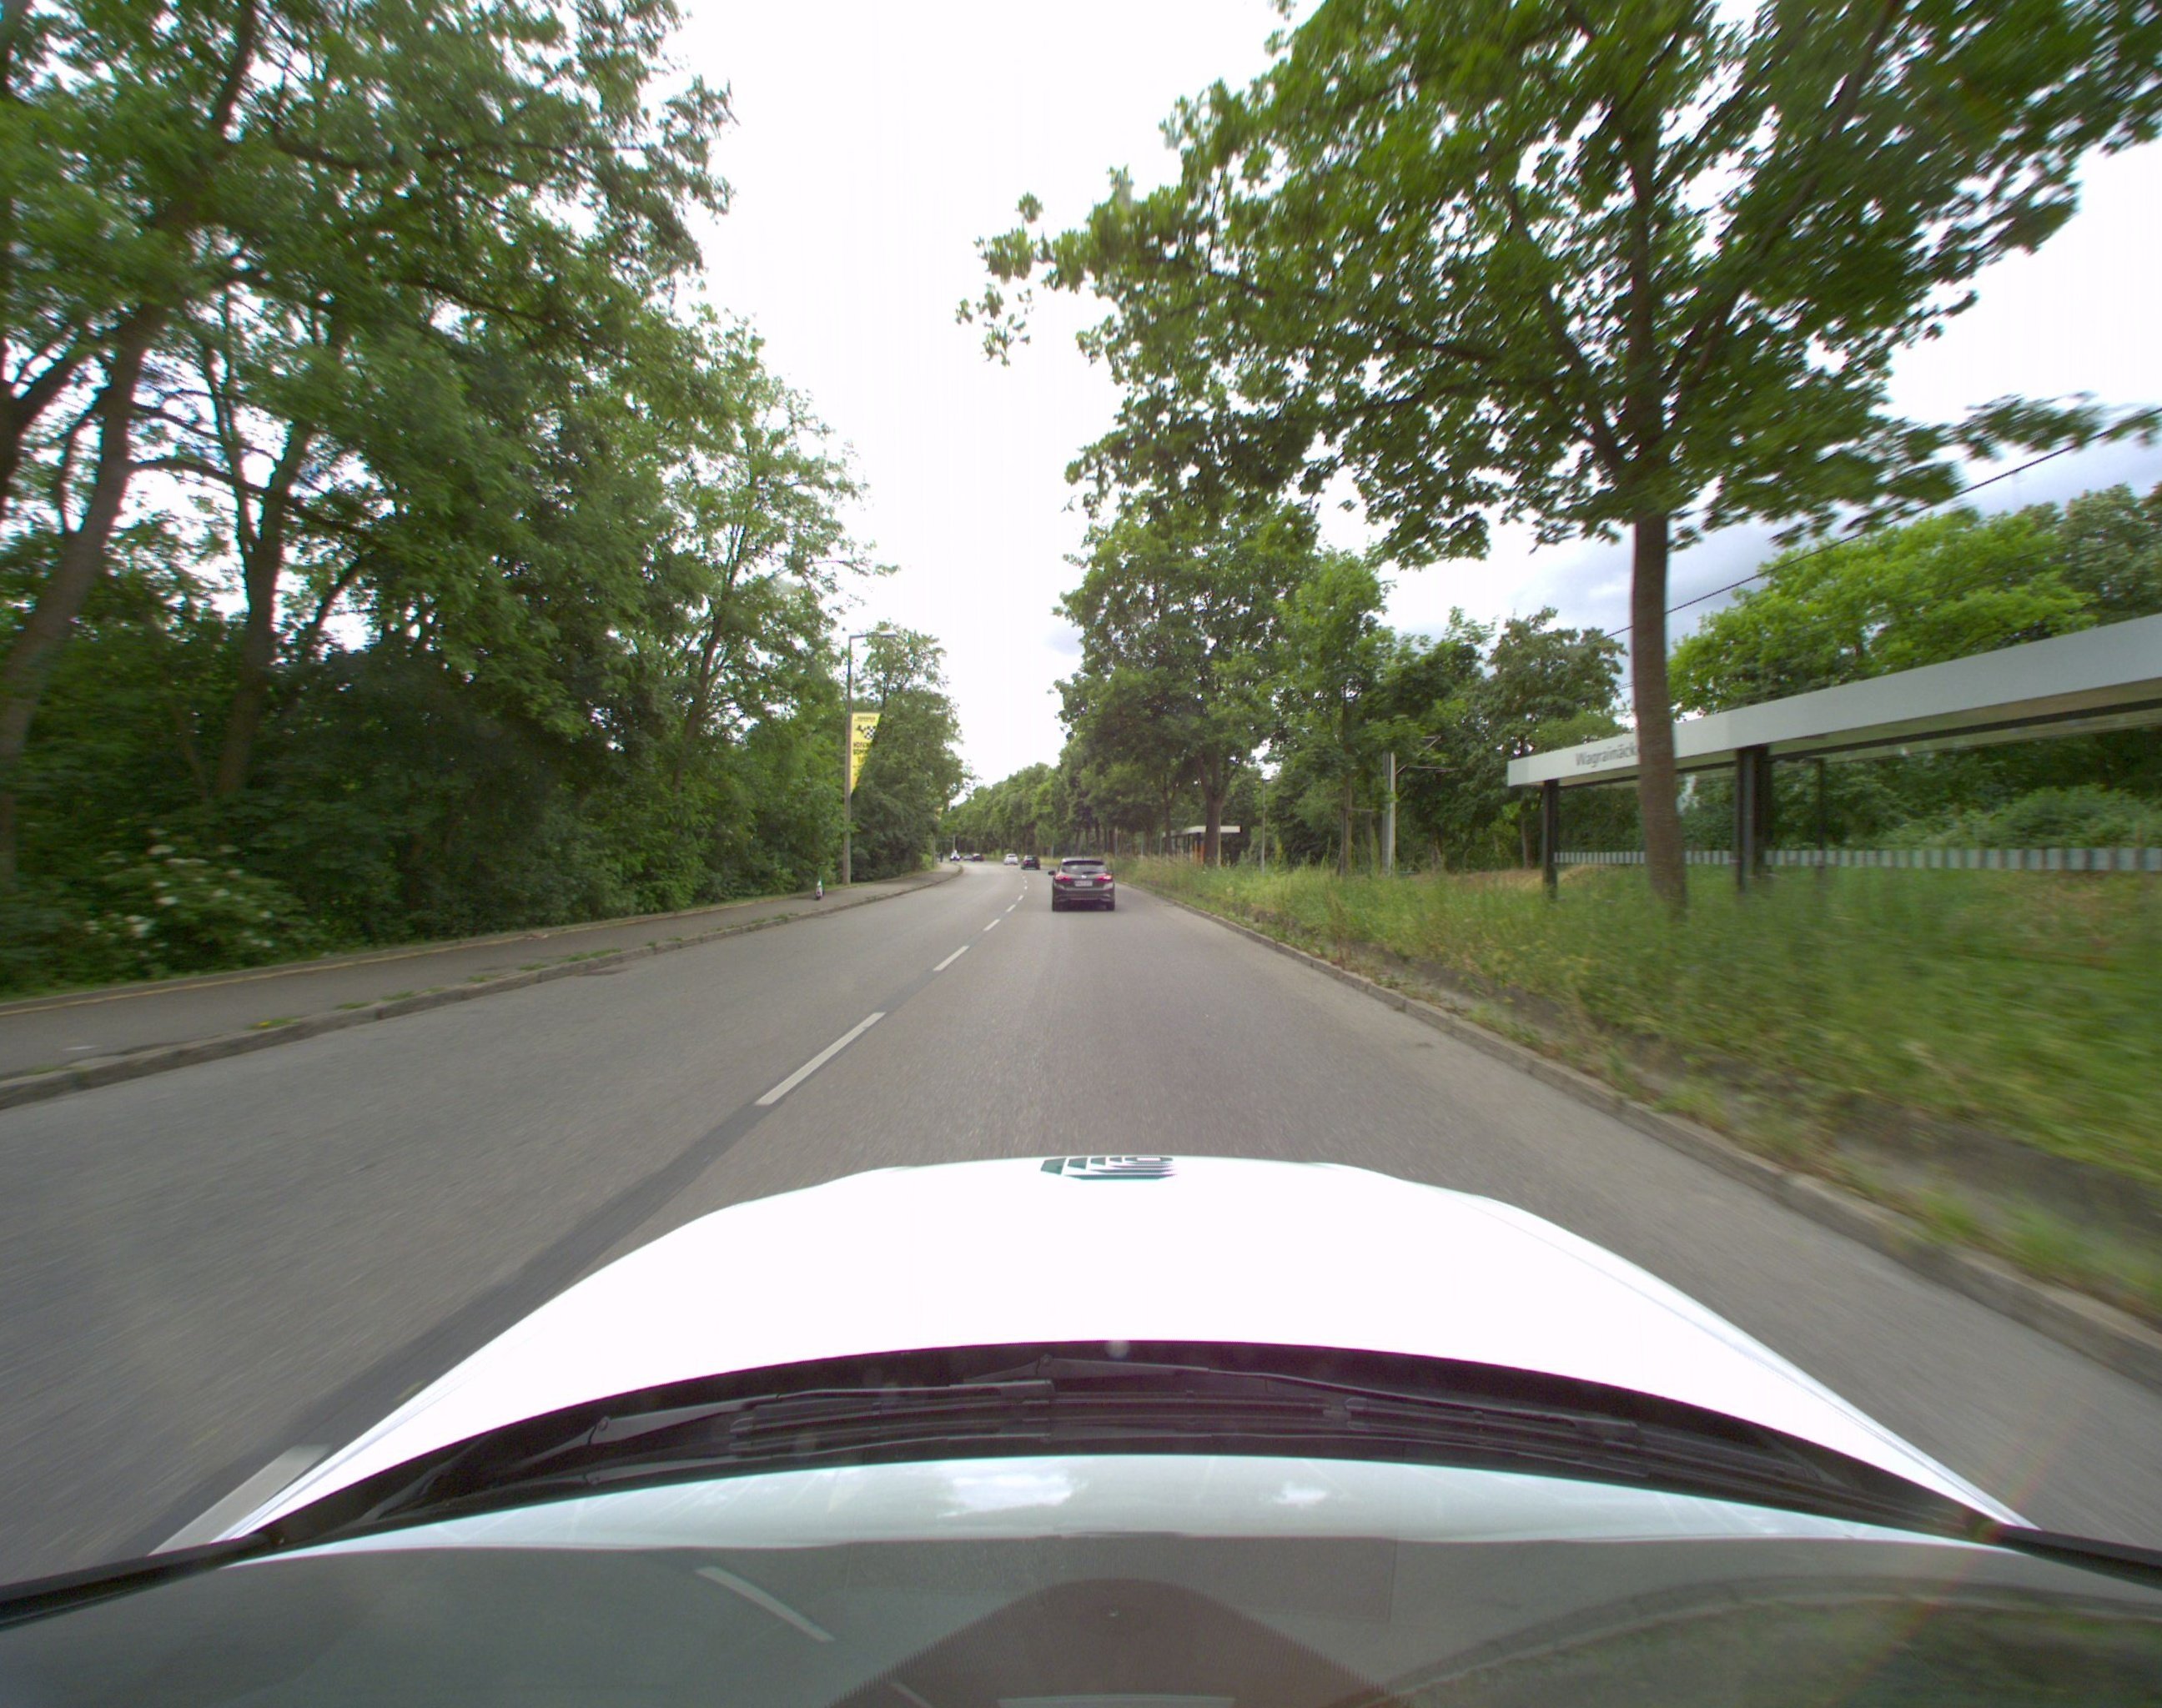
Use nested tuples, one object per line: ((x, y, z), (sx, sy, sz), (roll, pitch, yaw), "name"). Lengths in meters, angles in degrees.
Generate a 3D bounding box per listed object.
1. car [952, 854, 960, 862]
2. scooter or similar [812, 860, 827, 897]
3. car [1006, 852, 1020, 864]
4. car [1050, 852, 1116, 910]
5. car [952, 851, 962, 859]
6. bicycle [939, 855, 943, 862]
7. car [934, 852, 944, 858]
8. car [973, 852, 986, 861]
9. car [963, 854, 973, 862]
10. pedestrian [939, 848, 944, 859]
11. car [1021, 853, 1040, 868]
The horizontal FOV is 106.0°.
((-23.483, 0.808, 152.953), (1.595, 1.506, 3.018), (-1, 0, -10), "car")
((-8.703, 0.805, 27.041), (0.366, 1.184, 1.288), (1, 0, -21), "scooter or similar")
((-9.444, 0.497, 112.284), (1.774, 1.472, 3.991), (2, 0, -6), "car")
((-0.013, 0.726, 24.265), (1.811, 1.508, 3.997), (0, 1, -2), "car")
((-27.792, 0.204, 182.536), (1.778, 1.472, 3.981), (2, 0, -14), "car")
((-20.908, 0.647, 121.601), (0.488, 1.030, 1.120), (2, 0, -12), "bicycle")
((-36.620, 0.232, 210.125), (1.782, 1.472, 3.974), (2, 0, -20), "car")
((-18.487, 0.407, 148.207), (1.778, 1.472, 3.981), (3, 0, -14), "car")
((-22.599, 0.742, 162.980), (1.776, 1.472, 3.987), (1, 1, -10), "car")
((-20.874, -0.081, 121.613), (0.618, 1.571, 0.846), (2, 0, -12), "pedestrian")
((-5.182, 0.638, 83.664), (1.772, 1.472, 3.996), (2, 0, -3), "car")
